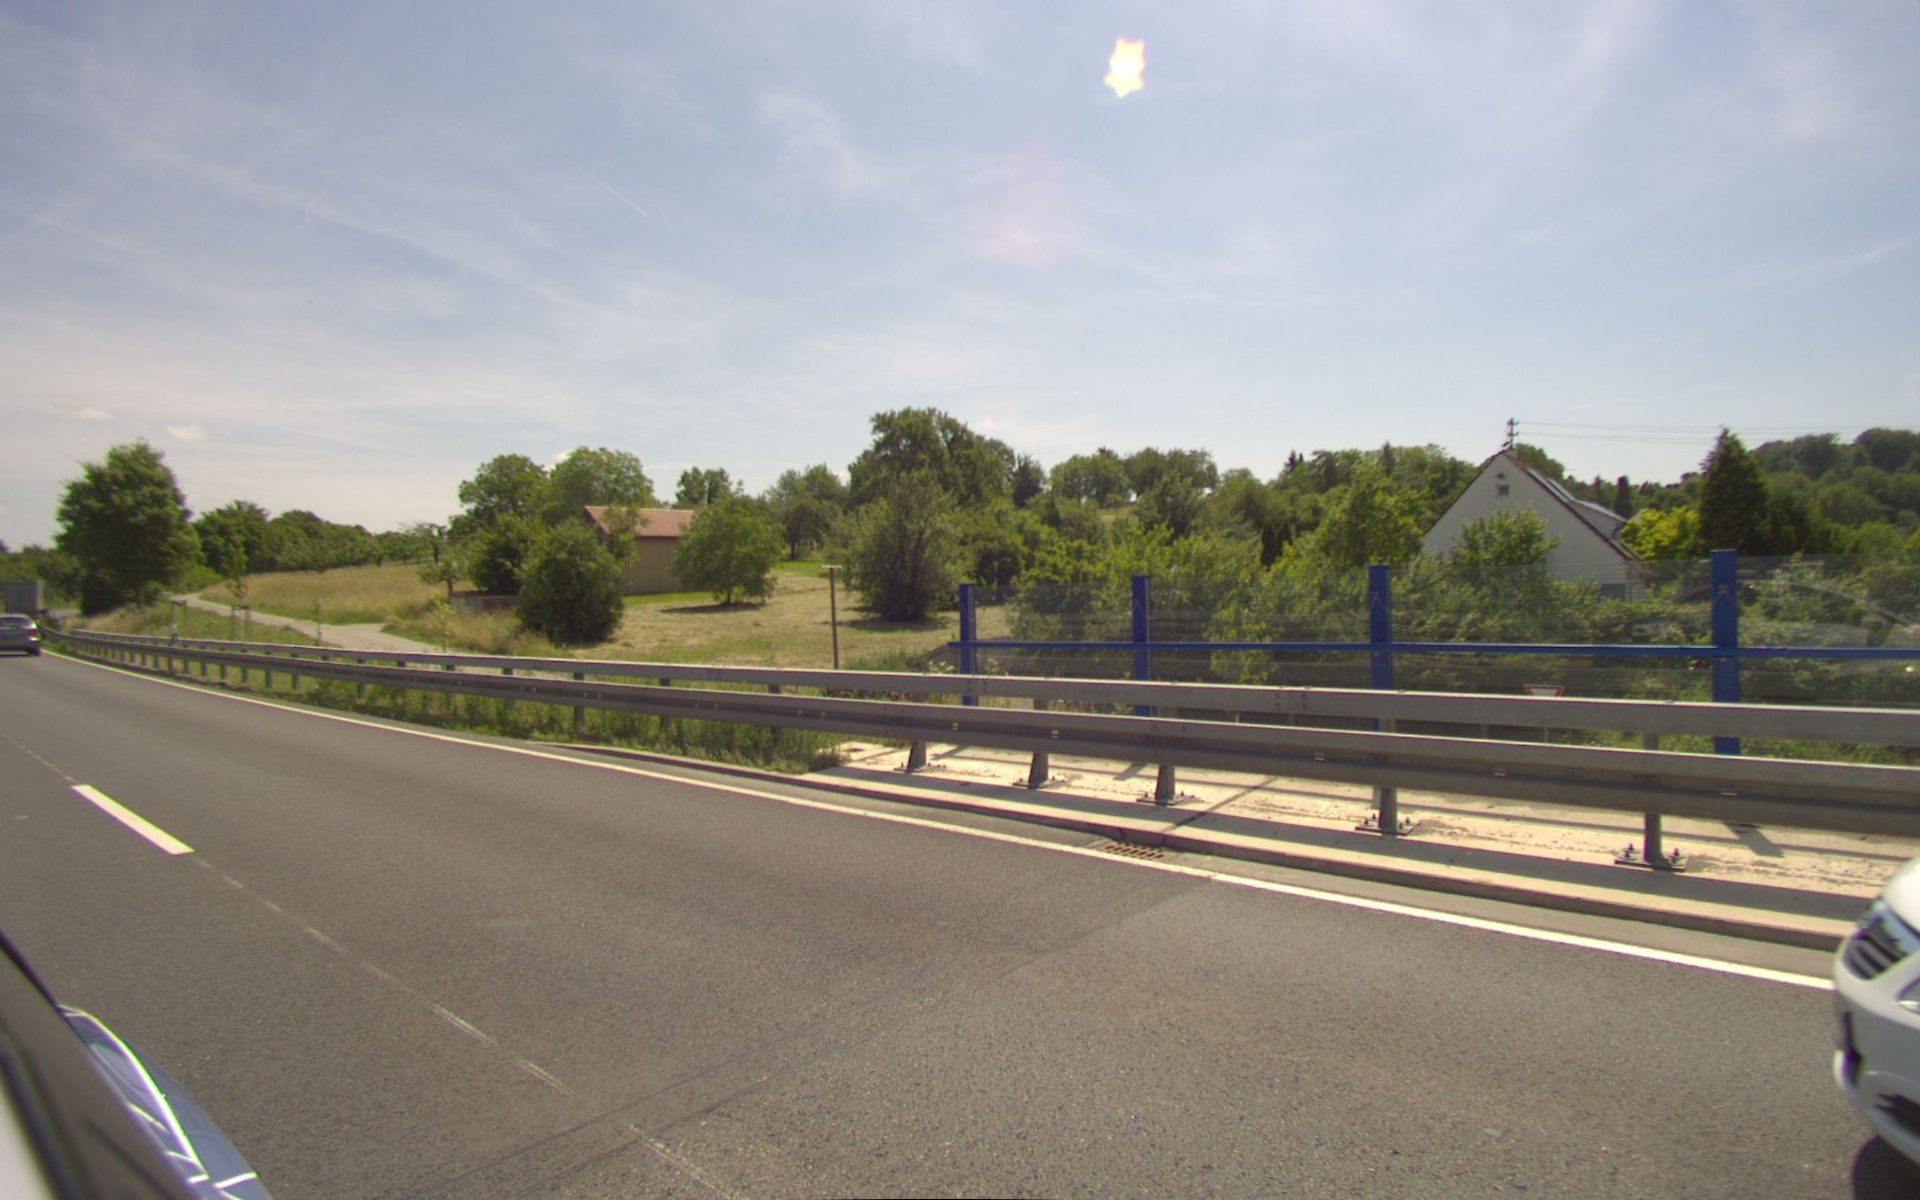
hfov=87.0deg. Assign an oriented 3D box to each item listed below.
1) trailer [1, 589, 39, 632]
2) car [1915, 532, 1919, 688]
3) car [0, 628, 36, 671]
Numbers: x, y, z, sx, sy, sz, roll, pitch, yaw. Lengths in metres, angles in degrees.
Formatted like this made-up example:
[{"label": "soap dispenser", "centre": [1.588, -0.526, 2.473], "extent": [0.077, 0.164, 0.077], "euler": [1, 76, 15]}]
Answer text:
[{"label": "trailer", "centre": [-98.335, 1.173, 105.991], "extent": [2.415, 4.216, 14.034], "euler": [1, -2, -41]}, {"label": "car", "centre": [3.984, 0.500, 1.126], "extent": [4.116, 1.516, 1.690], "euler": [-2, -2, 41]}, {"label": "car", "centre": [-37.450, 1.911, 39.447], "extent": [4.380, 1.602, 1.786], "euler": [-2, -2, 43]}]
